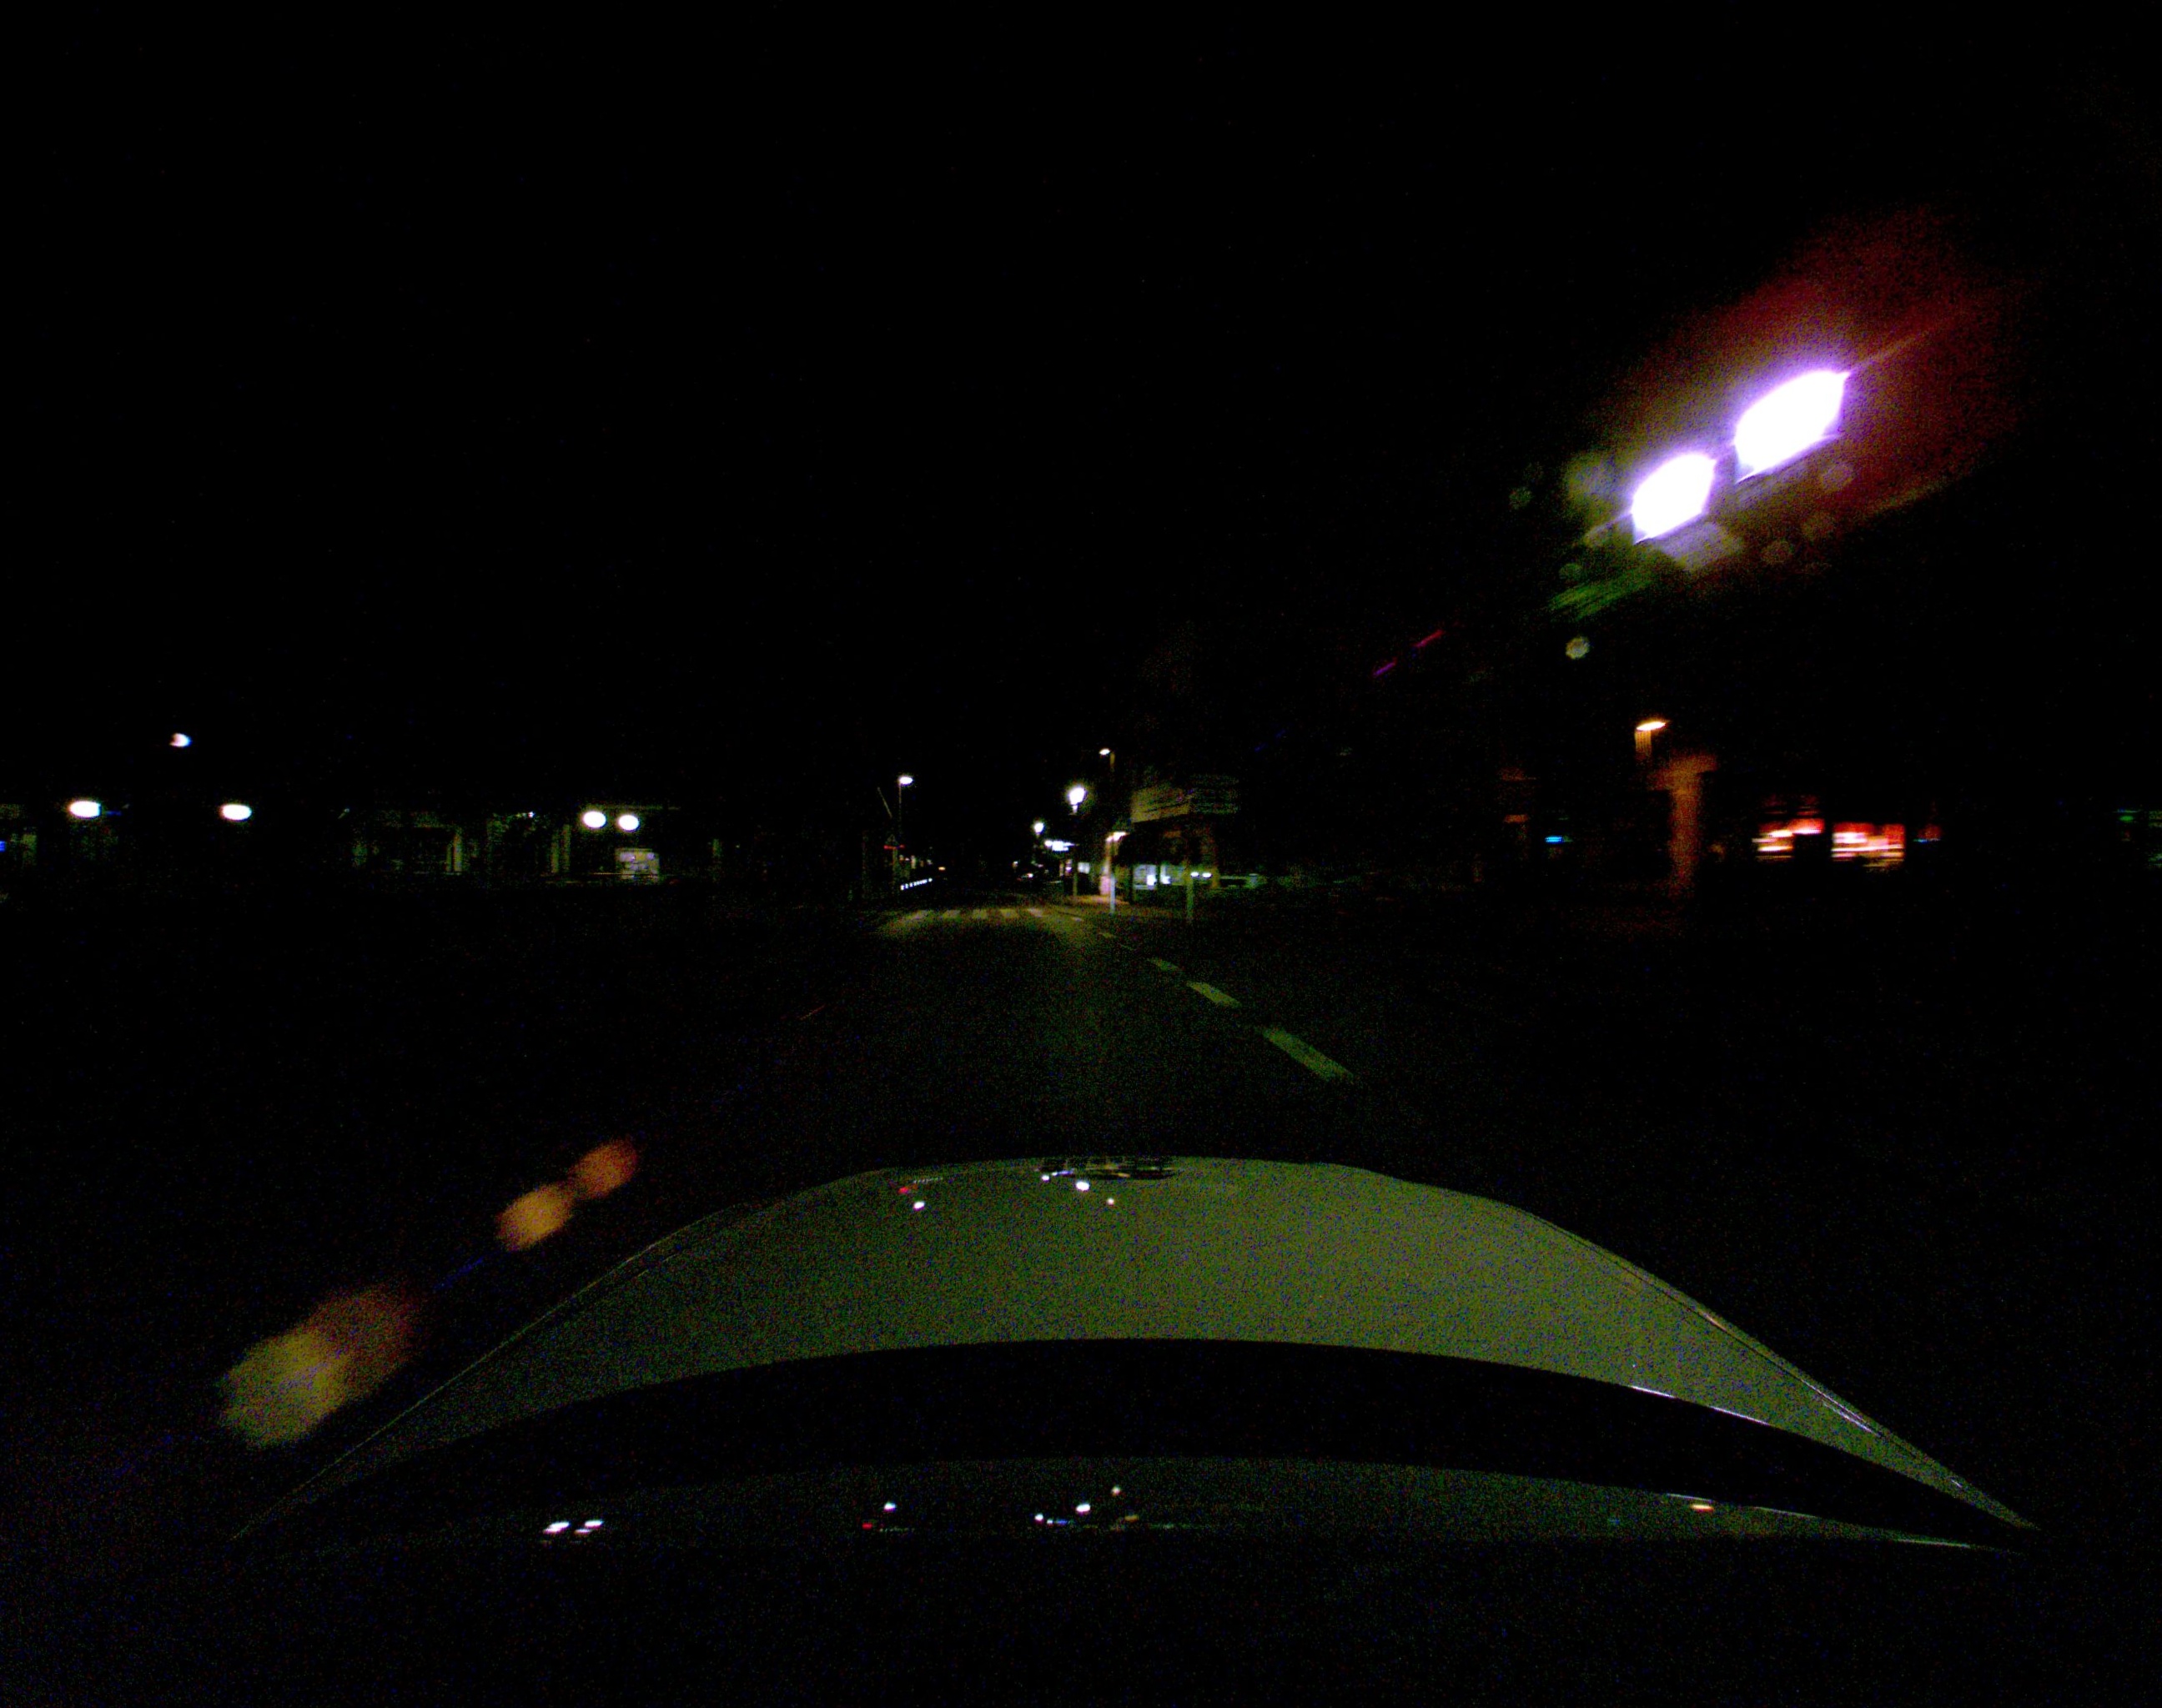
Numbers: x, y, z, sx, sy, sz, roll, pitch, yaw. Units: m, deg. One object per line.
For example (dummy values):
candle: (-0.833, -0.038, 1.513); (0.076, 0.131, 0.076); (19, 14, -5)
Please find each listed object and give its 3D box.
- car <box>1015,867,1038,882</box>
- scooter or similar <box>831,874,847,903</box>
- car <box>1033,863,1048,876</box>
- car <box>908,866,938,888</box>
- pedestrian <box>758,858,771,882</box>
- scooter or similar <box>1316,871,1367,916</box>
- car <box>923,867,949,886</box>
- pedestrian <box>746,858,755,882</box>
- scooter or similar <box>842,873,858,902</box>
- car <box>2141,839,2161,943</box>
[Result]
car: (-5.219, 1.927, 77.664); (1.833, 1.358, 3.989); (-1, 0, -8)
scooter or similar: (-9.813, 1.383, 33.043); (0.429, 1.106, 1.001); (-1, 0, -7)
car: (-5.359, 2.034, 106.862); (1.708, 1.547, 3.529); (-1, 0, -8)
car: (-11.044, 1.609, 57.184); (1.832, 1.453, 3.989); (-1, -1, -7)
pedestrian: (-20.106, 1.009, 51.736); (0.523, 1.546, 0.513); (-1, 0, 16)
scooter or similar: (7.446, 1.126, 23.289); (1.242, 1.227, 0.598); (2, 0, -1)
car: (-12.097, 1.870, 67.858); (1.836, 1.453, 3.981); (-1, 0, -14)
pedestrian: (-21.038, 1.007, 51.871); (0.459, 1.546, 0.479); (-1, 0, -14)
scooter or similar: (-9.373, 1.363, 33.057); (0.429, 1.134, 1.001); (-1, 0, -7)
car: (18.589, 0.627, 11.299); (1.994, 1.660, 4.324); (2, 0, -10)
